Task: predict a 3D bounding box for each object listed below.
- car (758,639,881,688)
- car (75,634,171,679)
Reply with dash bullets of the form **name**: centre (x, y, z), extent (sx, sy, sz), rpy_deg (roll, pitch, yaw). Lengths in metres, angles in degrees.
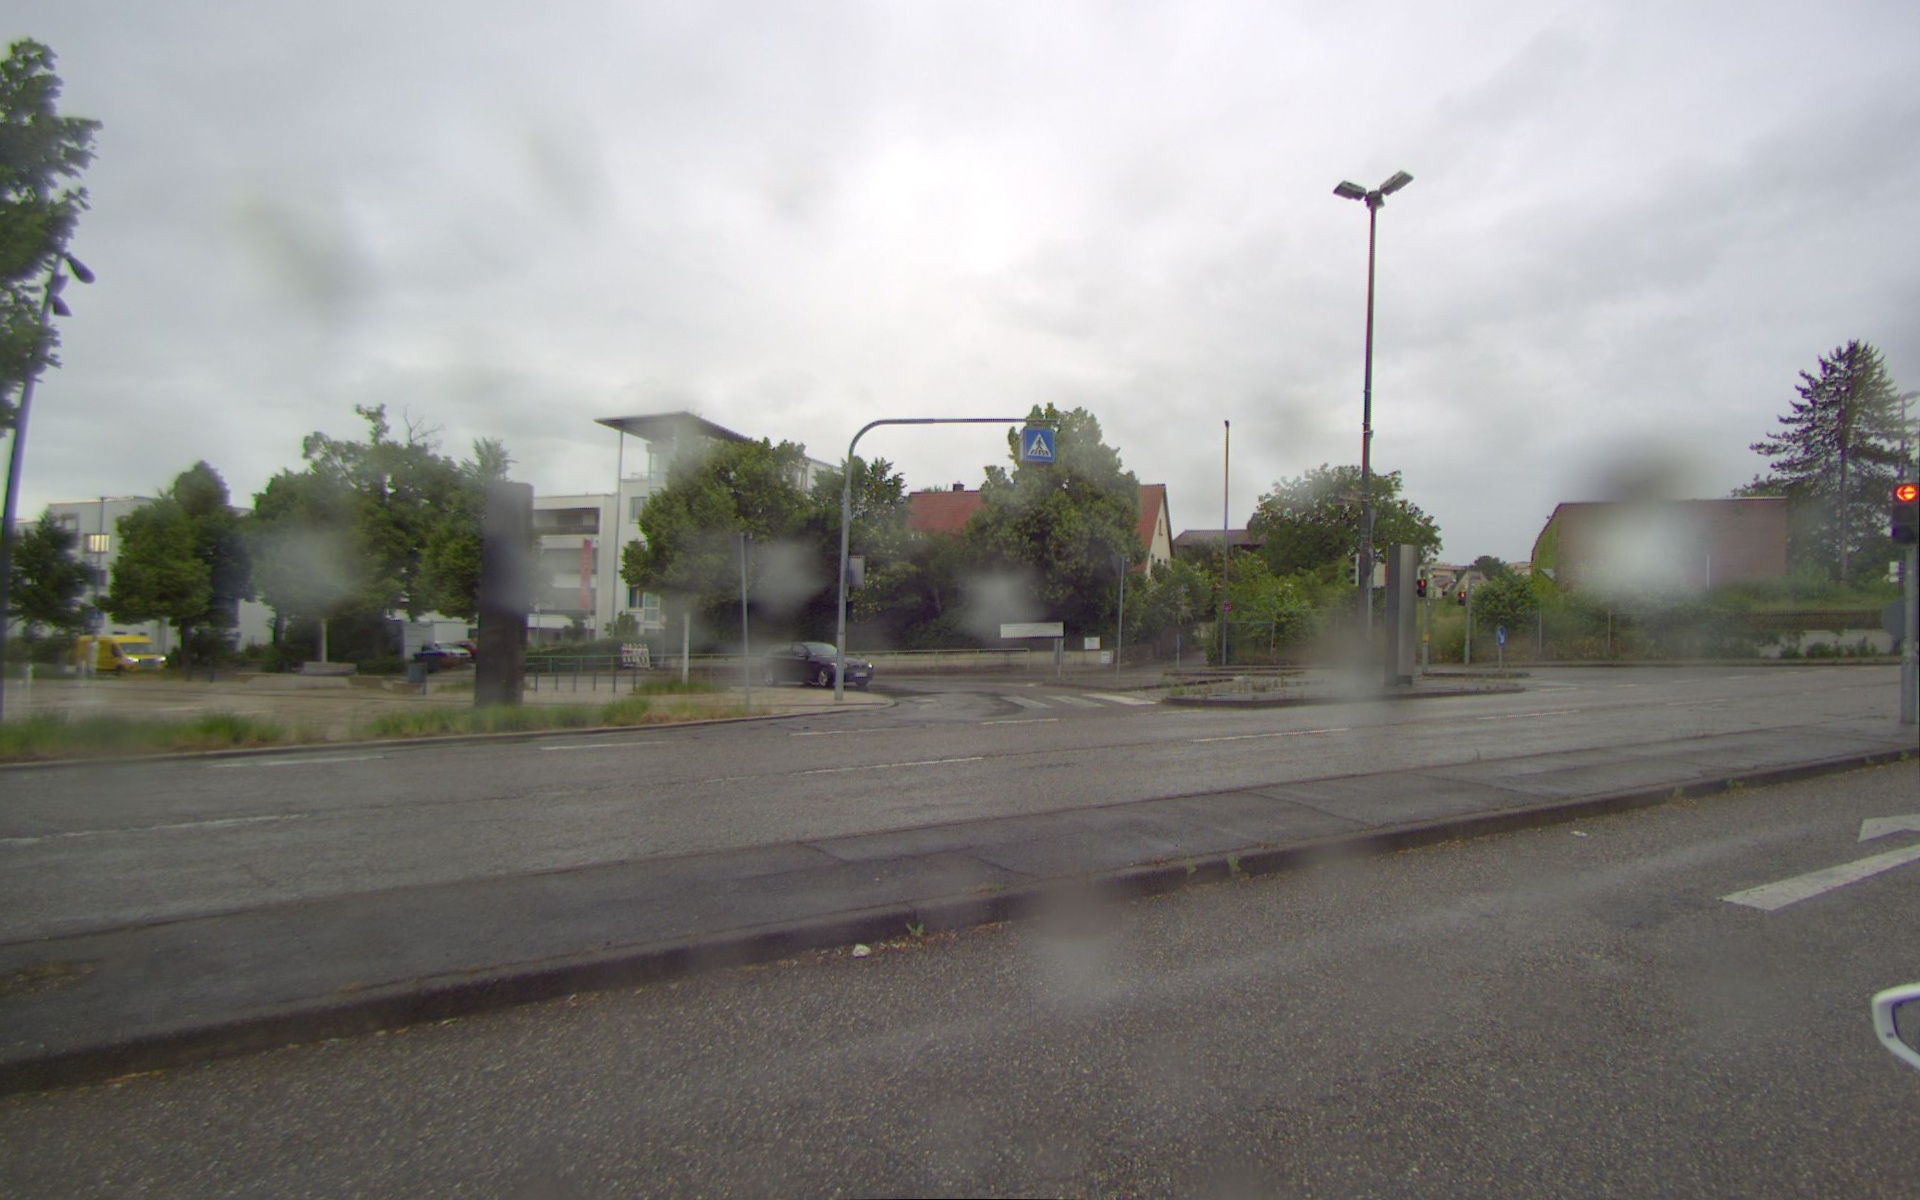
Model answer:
- **car**: centre (-4.565, 1.981, 32.221), extent (1.779, 1.408, 4.225), rpy_deg (2, -2, -44)
- **car**: centre (-47.965, 3.259, 57.531), extent (5.807, 2.441, 1.998), rpy_deg (-2, -3, 26)
